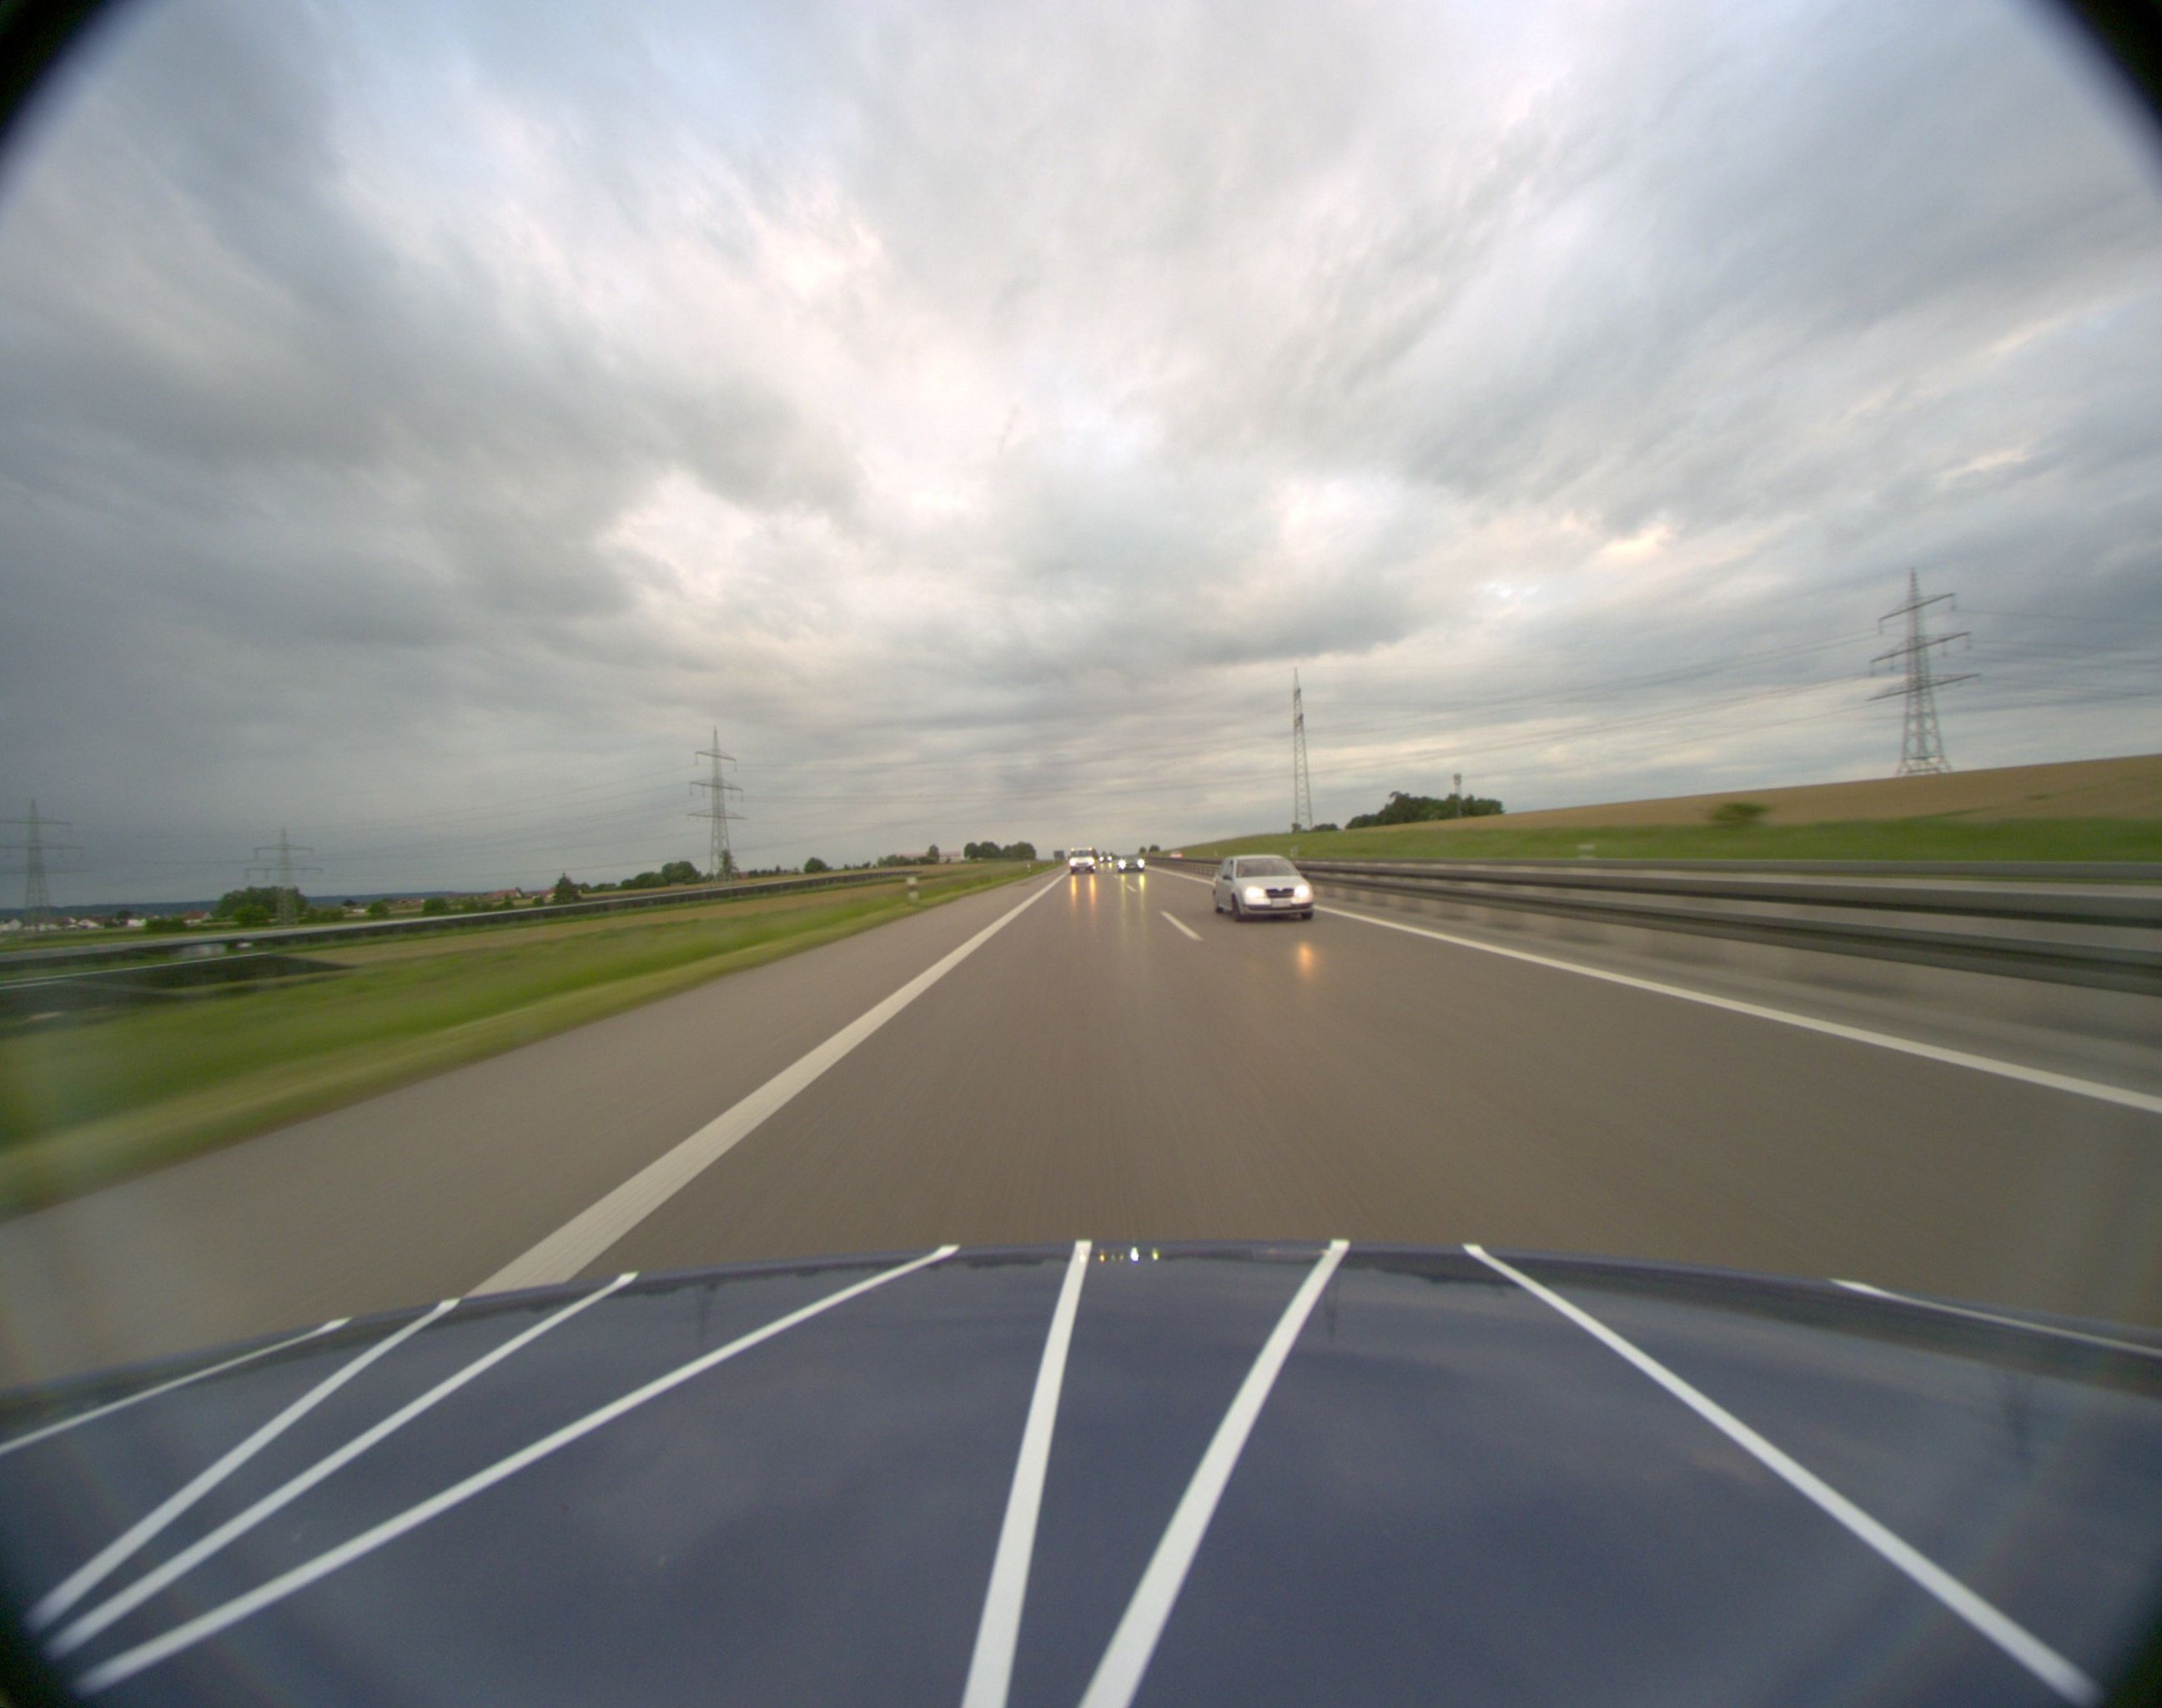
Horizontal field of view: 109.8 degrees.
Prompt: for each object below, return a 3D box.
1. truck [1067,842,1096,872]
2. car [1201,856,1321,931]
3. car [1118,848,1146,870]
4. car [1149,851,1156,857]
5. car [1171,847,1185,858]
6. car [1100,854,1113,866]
[{"bbox_3d":[0.048,0.273,67.407,2.177,2.346,7.696,-5,0,0],"label":"truck"},{"bbox_3d":[3.928,0.787,17.344,1.592,1.381,4.601,-2,0,0],"label":"car"},{"bbox_3d":[4.104,0.361,61.631,1.951,1.620,4.536,-3,0,1],"label":"car"},{"bbox_3d":[20.009,-0.053,212.713,1.678,1.352,4.011,-6,0,0],"label":"car"},{"bbox_3d":[16.748,-0.204,130.884,1.795,1.689,4.590,-5,0,1],"label":"car"},{"bbox_3d":[4.657,1.124,140.472,1.999,2.002,4.461,-5,0,-1],"label":"car"}]
